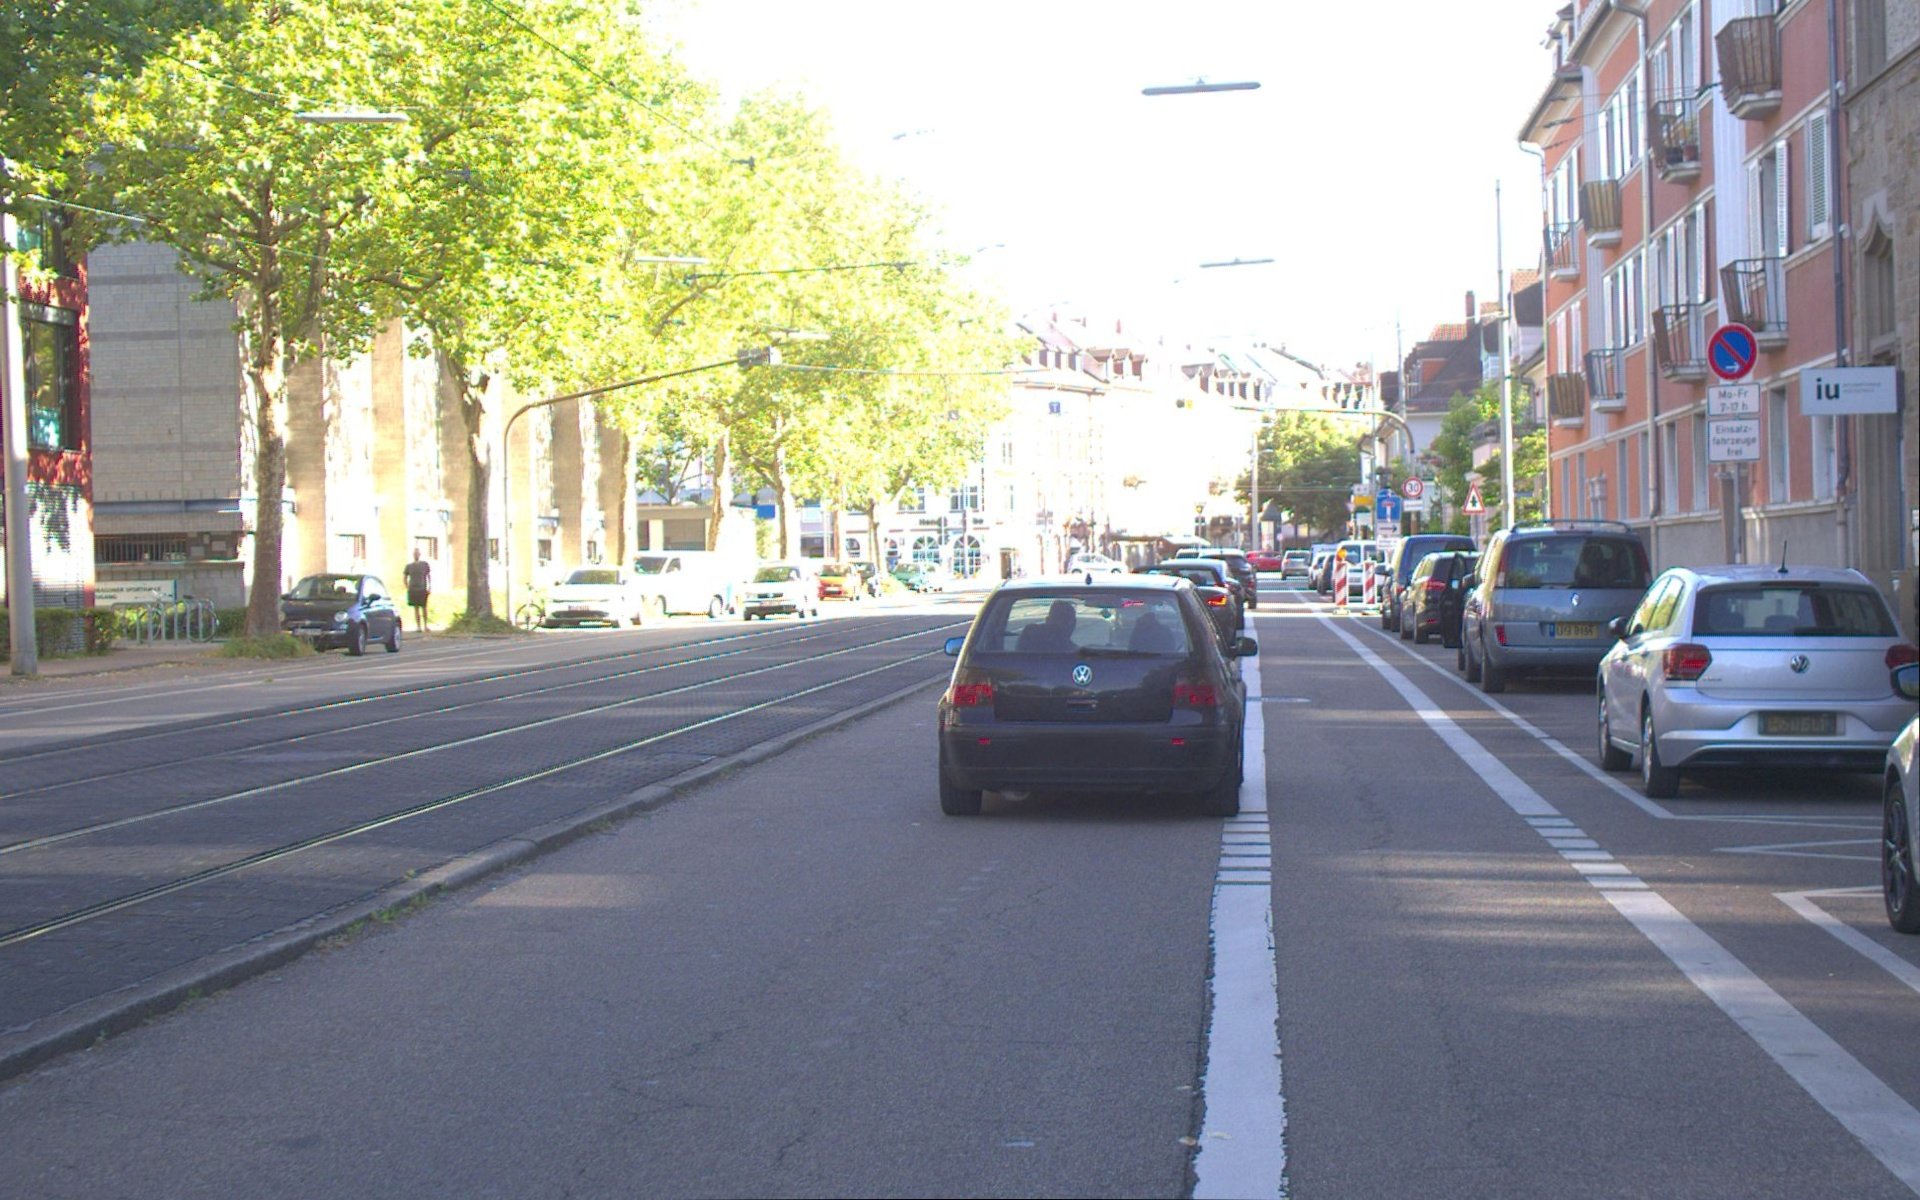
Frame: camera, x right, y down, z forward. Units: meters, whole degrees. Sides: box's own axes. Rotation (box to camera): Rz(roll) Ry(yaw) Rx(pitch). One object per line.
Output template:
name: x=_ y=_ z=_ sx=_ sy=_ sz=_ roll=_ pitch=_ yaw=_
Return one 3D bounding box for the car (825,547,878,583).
car: x=-4.634 y=-1.493 z=146.732 sx=1.793 sy=1.460 sz=3.835 roll=2 pitch=1 yaw=5

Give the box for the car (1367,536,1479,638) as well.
car: x=8.773 y=-0.268 z=65.451 sx=1.703 sy=1.804 sz=4.271 roll=-3 pitch=1 yaw=3

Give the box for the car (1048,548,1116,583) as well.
car: x=7.329 y=-2.091 z=206.283 sx=3.987 sy=2.007 sz=2.000 roll=1 pitch=1 yaw=2

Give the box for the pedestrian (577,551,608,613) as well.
pedestrian: x=-10.920 y=-0.536 z=102.235 sx=0.797 sy=1.814 sz=0.670 roll=1 pitch=1 yaw=5

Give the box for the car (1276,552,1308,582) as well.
car: x=17.812 y=-1.774 z=184.545 sx=1.668 sy=1.592 sz=3.649 roll=-1 pitch=1 yaw=5

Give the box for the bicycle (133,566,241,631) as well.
bicycle: x=-15.565 y=-0.029 z=69.235 sx=2.009 sy=1.274 sz=0.664 roll=1 pitch=1 yaw=5

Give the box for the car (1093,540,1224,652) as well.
car: x=2.948 y=-0.084 z=50.375 sx=1.749 sy=1.532 sz=3.891 roll=-1 pitch=1 yaw=5

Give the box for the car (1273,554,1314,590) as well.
car: x=13.417 y=-1.135 z=138.466 sx=1.580 sy=1.370 sz=3.999 roll=-1 pitch=1 yaw=5

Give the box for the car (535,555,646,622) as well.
car: x=-9.268 y=-0.323 z=86.560 sx=2.012 sy=1.567 sz=4.693 roll=1 pitch=1 yaw=3

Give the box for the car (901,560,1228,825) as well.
car: x=0.686 y=0.481 z=20.653 sx=1.749 sy=1.370 sz=4.000 roll=-1 pitch=1 yaw=4

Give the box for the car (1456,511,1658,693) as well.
car: x=6.418 y=-0.020 z=37.375 sx=1.753 sy=1.849 sz=4.815 roll=0 pitch=1 yaw=5

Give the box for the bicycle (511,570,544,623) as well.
bicycle: x=-10.194 y=-0.078 z=81.032 sx=0.581 sy=1.205 sz=1.654 roll=1 pitch=1 yaw=-1

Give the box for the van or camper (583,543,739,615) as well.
van or camper: x=-8.382 y=-0.630 z=96.872 sx=2.063 sy=1.943 sz=5.183 roll=1 pitch=1 yaw=25

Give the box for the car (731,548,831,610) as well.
car: x=-4.646 y=-0.570 z=89.762 sx=1.753 sy=1.513 sz=4.070 roll=-3 pitch=0 yaw=9

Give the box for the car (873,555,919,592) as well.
car: x=-3.082 y=-1.294 z=166.282 sx=1.884 sy=1.663 sz=3.804 roll=1 pitch=1 yaw=4

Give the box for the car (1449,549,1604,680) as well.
car: x=6.909 y=0.145 z=42.191 sx=1.632 sy=1.506 sz=3.716 roll=1 pitch=1 yaw=6

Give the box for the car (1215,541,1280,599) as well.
car: x=7.472 y=-0.794 z=89.446 sx=1.636 sy=1.467 sz=3.729 roll=-1 pitch=1 yaw=5

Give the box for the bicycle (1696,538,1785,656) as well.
bicycle: x=7.981 y=-0.049 z=35.234 sx=0.515 sy=1.136 sz=2.258 roll=-3 pitch=1 yaw=4

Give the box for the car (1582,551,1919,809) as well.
car: x=5.165 y=0.446 z=22.599 sx=1.714 sy=1.495 sz=4.225 roll=1 pitch=1 yaw=5

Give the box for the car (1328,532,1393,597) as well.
car: x=11.724 y=-1.051 z=100.739 sx=1.759 sy=1.831 sz=3.547 roll=1 pitch=1 yaw=5

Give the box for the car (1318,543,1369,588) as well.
car: x=13.421 y=-1.217 z=120.423 sx=1.661 sy=1.520 sz=4.035 roll=-1 pitch=1 yaw=5

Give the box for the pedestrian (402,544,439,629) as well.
pedestrian: x=-12.000 y=-0.303 z=76.442 sx=0.784 sy=1.863 sz=0.671 roll=1 pitch=1 yaw=-10

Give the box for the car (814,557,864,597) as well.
car: x=-4.817 y=-0.909 z=137.512 sx=1.570 sy=1.528 sz=3.572 roll=-1 pitch=0 yaw=5

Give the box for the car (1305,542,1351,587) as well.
car: x=15.286 y=-1.484 z=142.959 sx=1.818 sy=1.793 sz=3.999 roll=-1 pitch=1 yaw=5

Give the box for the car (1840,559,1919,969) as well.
car: x=4.401 y=0.623 z=12.438 sx=1.753 sy=1.495 sz=4.195 roll=1 pitch=1 yaw=6

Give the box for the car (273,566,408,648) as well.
car: x=-11.227 y=0.139 z=62.456 sx=1.507 sy=1.449 sz=3.462 roll=-1 pitch=-1 yaw=6

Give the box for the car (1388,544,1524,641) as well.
car: x=8.192 y=-0.154 z=57.090 sx=1.754 sy=1.506 sz=4.762 roll=1 pitch=1 yaw=3
